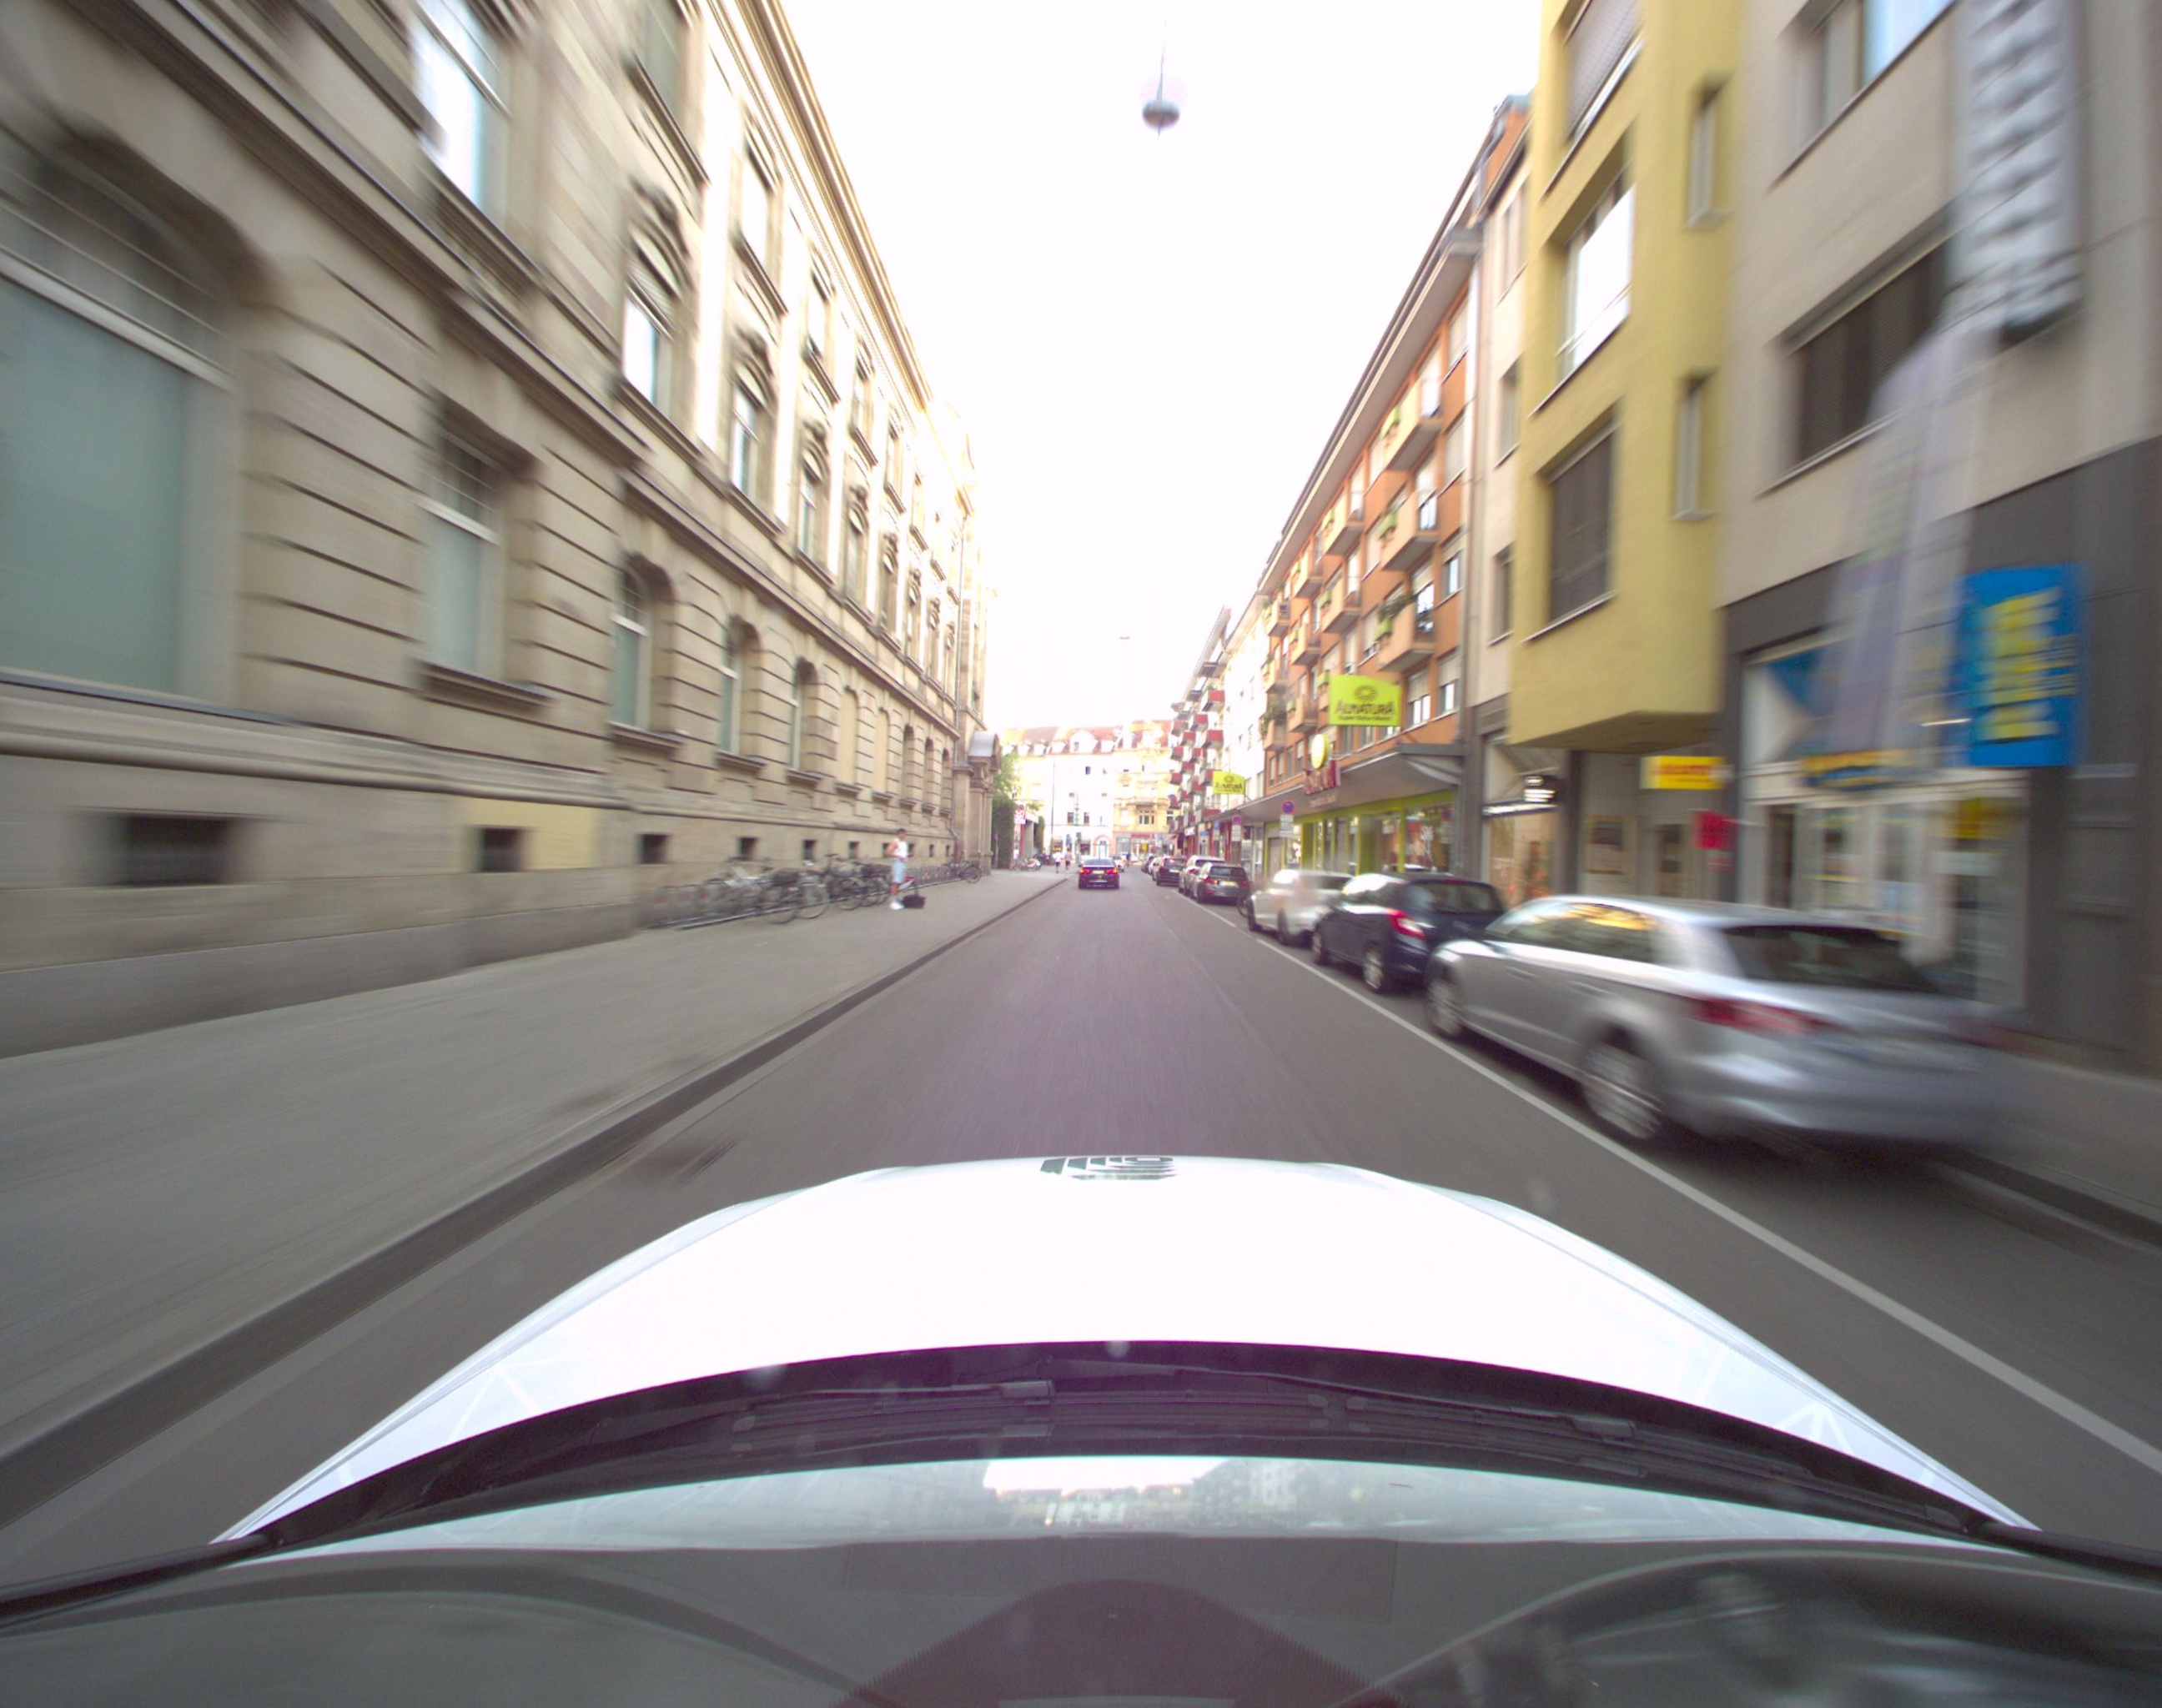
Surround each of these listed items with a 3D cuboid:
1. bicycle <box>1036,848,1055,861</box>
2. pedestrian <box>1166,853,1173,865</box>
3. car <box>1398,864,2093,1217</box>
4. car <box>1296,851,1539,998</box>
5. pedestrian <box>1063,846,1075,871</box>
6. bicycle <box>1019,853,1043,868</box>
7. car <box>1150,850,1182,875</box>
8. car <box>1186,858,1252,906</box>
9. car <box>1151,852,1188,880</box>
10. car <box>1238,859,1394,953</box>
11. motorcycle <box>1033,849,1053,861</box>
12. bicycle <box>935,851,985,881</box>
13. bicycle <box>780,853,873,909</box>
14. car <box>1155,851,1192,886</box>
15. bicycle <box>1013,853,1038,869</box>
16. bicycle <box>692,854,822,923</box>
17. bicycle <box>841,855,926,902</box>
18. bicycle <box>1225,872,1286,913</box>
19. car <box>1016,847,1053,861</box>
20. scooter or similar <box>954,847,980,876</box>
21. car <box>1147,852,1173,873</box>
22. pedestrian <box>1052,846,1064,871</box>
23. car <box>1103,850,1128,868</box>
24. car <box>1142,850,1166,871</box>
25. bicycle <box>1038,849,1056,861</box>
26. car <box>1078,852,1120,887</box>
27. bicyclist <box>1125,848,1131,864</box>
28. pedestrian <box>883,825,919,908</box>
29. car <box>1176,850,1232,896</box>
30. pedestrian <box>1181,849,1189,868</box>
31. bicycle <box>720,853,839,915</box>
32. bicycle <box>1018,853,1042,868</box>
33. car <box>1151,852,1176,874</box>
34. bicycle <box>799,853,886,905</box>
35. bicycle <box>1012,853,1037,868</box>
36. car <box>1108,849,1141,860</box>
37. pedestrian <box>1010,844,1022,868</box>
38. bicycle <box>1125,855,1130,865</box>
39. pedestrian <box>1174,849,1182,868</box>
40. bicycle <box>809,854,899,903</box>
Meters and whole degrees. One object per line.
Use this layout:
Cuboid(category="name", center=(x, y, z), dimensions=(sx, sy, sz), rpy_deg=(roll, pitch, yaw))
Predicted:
Cuboid(category="bicycle", center=(-3.499, 0.053, 81.193), dimensions=(1.786, 1.107, 0.501), rpy_deg=(3, 0, 4))
Cuboid(category="pedestrian", center=(9.452, 0.489, 86.587), dimensions=(0.682, 1.286, 0.610), rpy_deg=(0, 0, 11))
Cuboid(category="car", center=(4.020, 0.910, 6.125), dimensions=(1.680, 1.453, 4.502), rpy_deg=(4, 1, 3))
Cuboid(category="car", center=(4.327, 0.783, 11.235), dimensions=(1.612, 1.516, 4.175), rpy_deg=(4, 1, 1))
Cuboid(category="pedestrian", center=(-0.916, 0.328, 61.342), dimensions=(0.741, 1.893, 1.051), rpy_deg=(3, 0, 3))
Cuboid(category="bicycle", center=(-4.012, 0.509, 65.015), dimensions=(1.786, 1.107, 0.501), rpy_deg=(2, 0, 5))
Cuboid(category="car", center=(5.899, 0.572, 56.712), dimensions=(1.706, 1.512, 4.652), rpy_deg=(4, 1, 1))
Cuboid(category="car", center=(4.864, 0.939, 29.262), dimensions=(1.685, 1.414, 4.760), rpy_deg=(4, 1, 3))
Cuboid(category="car", center=(5.254, 0.667, 48.859), dimensions=(1.731, 1.415, 4.683), rpy_deg=(4, 1, 1))
Cuboid(category="car", center=(4.511, 0.921, 16.407), dimensions=(1.686, 1.411, 4.638), rpy_deg=(4, 1, -1))
Cuboid(category="motorcycle", center=(-3.694, 0.082, 79.169), dimensions=(1.783, 1.064, 0.769), rpy_deg=(3, 0, 27))
Cuboid(category="bicycle", center=(-4.969, 0.507, 33.435), dimensions=(1.939, 1.061, 0.617), rpy_deg=(5, -1, -13))
Cuboid(category="bicycle", center=(-5.458, 0.575, 17.514), dimensions=(1.791, 1.107, 0.499), rpy_deg=(3, -1, -4))
Cuboid(category="car", center=(4.949, 0.731, 43.487), dimensions=(1.785, 1.609, 4.495), rpy_deg=(4, 1, 7))
Cuboid(category="bicycle", center=(-4.203, 0.521, 61.863), dimensions=(1.787, 1.107, 0.500), rpy_deg=(2, 0, 2))
Cuboid(category="bicycle", center=(-5.559, 0.589, 14.047), dimensions=(1.930, 1.061, 0.620), rpy_deg=(3, 0, 1))
Cuboid(category="bicycle", center=(-4.958, 0.608, 20.560), dimensions=(1.931, 1.061, 0.619), rpy_deg=(3, -1, 0))
Cuboid(category="bicycle", center=(4.818, 1.049, 22.407), dimensions=(1.746, 1.055, 0.652), rpy_deg=(3, 0, -40))
Cuboid(category="car", center=(-5.233, 0.015, 91.495), dimensions=(3.982, 1.501, 1.887), rpy_deg=(1, 1, -6))
Cuboid(category="scooter or similar", center=(-5.207, 0.343, 37.236), dimensions=(1.133, 1.232, 0.495), rpy_deg=(3, 0, -10))
Cuboid(category="car", center=(6.405, 0.651, 66.419), dimensions=(1.693, 1.452, 4.459), rpy_deg=(4, 1, 0))
Cuboid(category="pedestrian", center=(-1.742, 0.302, 60.883), dimensions=(0.738, 1.812, 1.009), rpy_deg=(4, 0, 1))
Cuboid(category="car", center=(3.045, 0.427, 70.413), dimensions=(1.868, 1.473, 4.007), rpy_deg=(1, 1, 6))
Cuboid(category="car", center=(6.497, 0.552, 72.960), dimensions=(1.758, 1.642, 4.793), rpy_deg=(4, 1, 2))
Cuboid(category="bicycle", center=(-3.449, 0.057, 81.941), dimensions=(1.790, 1.107, 0.499), rpy_deg=(3, 0, -3))
Cuboid(category="car", center=(0.892, 0.664, 37.312), dimensions=(1.758, 1.375, 4.794), rpy_deg=(2, 1, 3))
Cuboid(category="bicyclist", center=(5.183, 0.215, 90.112), dimensions=(0.521, 1.756, 0.620), rpy_deg=(2, 0, 3))
Cuboid(category="pedestrian", center=(-4.140, 0.285, 18.799), dimensions=(0.586, 1.851, 0.753), rpy_deg=(3, 0, -4))
Cuboid(category="car", center=(5.099, 0.723, 34.227), dimensions=(1.745, 1.668, 4.760), rpy_deg=(4, 1, 3))
Cuboid(category="pedestrian", center=(9.377, 0.408, 73.189), dimensions=(0.645, 1.661, 0.794), rpy_deg=(-1, 0, 4))
Cuboid(category="bicycle", center=(-5.630, 0.556, 15.299), dimensions=(1.933, 1.061, 0.619), rpy_deg=(3, 0, -4))
Cuboid(category="bicycle", center=(-4.053, 0.508, 64.383), dimensions=(1.786, 1.107, 0.501), rpy_deg=(2, 0, 5))
Cuboid(category="car", center=(6.187, 0.642, 61.242), dimensions=(1.600, 1.512, 4.052), rpy_deg=(4, 1, 3))
Cuboid(category="bicycle", center=(-5.464, 0.569, 18.716), dimensions=(1.791, 1.107, 0.499), rpy_deg=(3, -1, -4))
Cuboid(category="bicycle", center=(-4.318, 0.516, 62.212), dimensions=(1.788, 1.107, 0.500), rpy_deg=(2, 0, 0))
Cuboid(category="car", center=(6.251, 0.096, 117.061), dimensions=(4.312, 1.562, 1.879), rpy_deg=(1, 0, 24))
Cuboid(category="pedestrian", center=(-4.755, 0.132, 59.584), dimensions=(0.714, 1.754, 0.848), rpy_deg=(2, 0, 1))
Cuboid(category="bicycle", center=(5.163, 0.628, 90.135), dimensions=(0.534, 1.107, 1.802), rpy_deg=(2, 0, 3))
Cuboid(category="pedestrian", center=(8.700, 0.395, 73.220), dimensions=(0.645, 1.661, 0.656), rpy_deg=(-1, 0, 4))
Cuboid(category="bicycle", center=(-5.426, 0.591, 19.530), dimensions=(1.933, 1.061, 0.619), rpy_deg=(3, -1, -4))
